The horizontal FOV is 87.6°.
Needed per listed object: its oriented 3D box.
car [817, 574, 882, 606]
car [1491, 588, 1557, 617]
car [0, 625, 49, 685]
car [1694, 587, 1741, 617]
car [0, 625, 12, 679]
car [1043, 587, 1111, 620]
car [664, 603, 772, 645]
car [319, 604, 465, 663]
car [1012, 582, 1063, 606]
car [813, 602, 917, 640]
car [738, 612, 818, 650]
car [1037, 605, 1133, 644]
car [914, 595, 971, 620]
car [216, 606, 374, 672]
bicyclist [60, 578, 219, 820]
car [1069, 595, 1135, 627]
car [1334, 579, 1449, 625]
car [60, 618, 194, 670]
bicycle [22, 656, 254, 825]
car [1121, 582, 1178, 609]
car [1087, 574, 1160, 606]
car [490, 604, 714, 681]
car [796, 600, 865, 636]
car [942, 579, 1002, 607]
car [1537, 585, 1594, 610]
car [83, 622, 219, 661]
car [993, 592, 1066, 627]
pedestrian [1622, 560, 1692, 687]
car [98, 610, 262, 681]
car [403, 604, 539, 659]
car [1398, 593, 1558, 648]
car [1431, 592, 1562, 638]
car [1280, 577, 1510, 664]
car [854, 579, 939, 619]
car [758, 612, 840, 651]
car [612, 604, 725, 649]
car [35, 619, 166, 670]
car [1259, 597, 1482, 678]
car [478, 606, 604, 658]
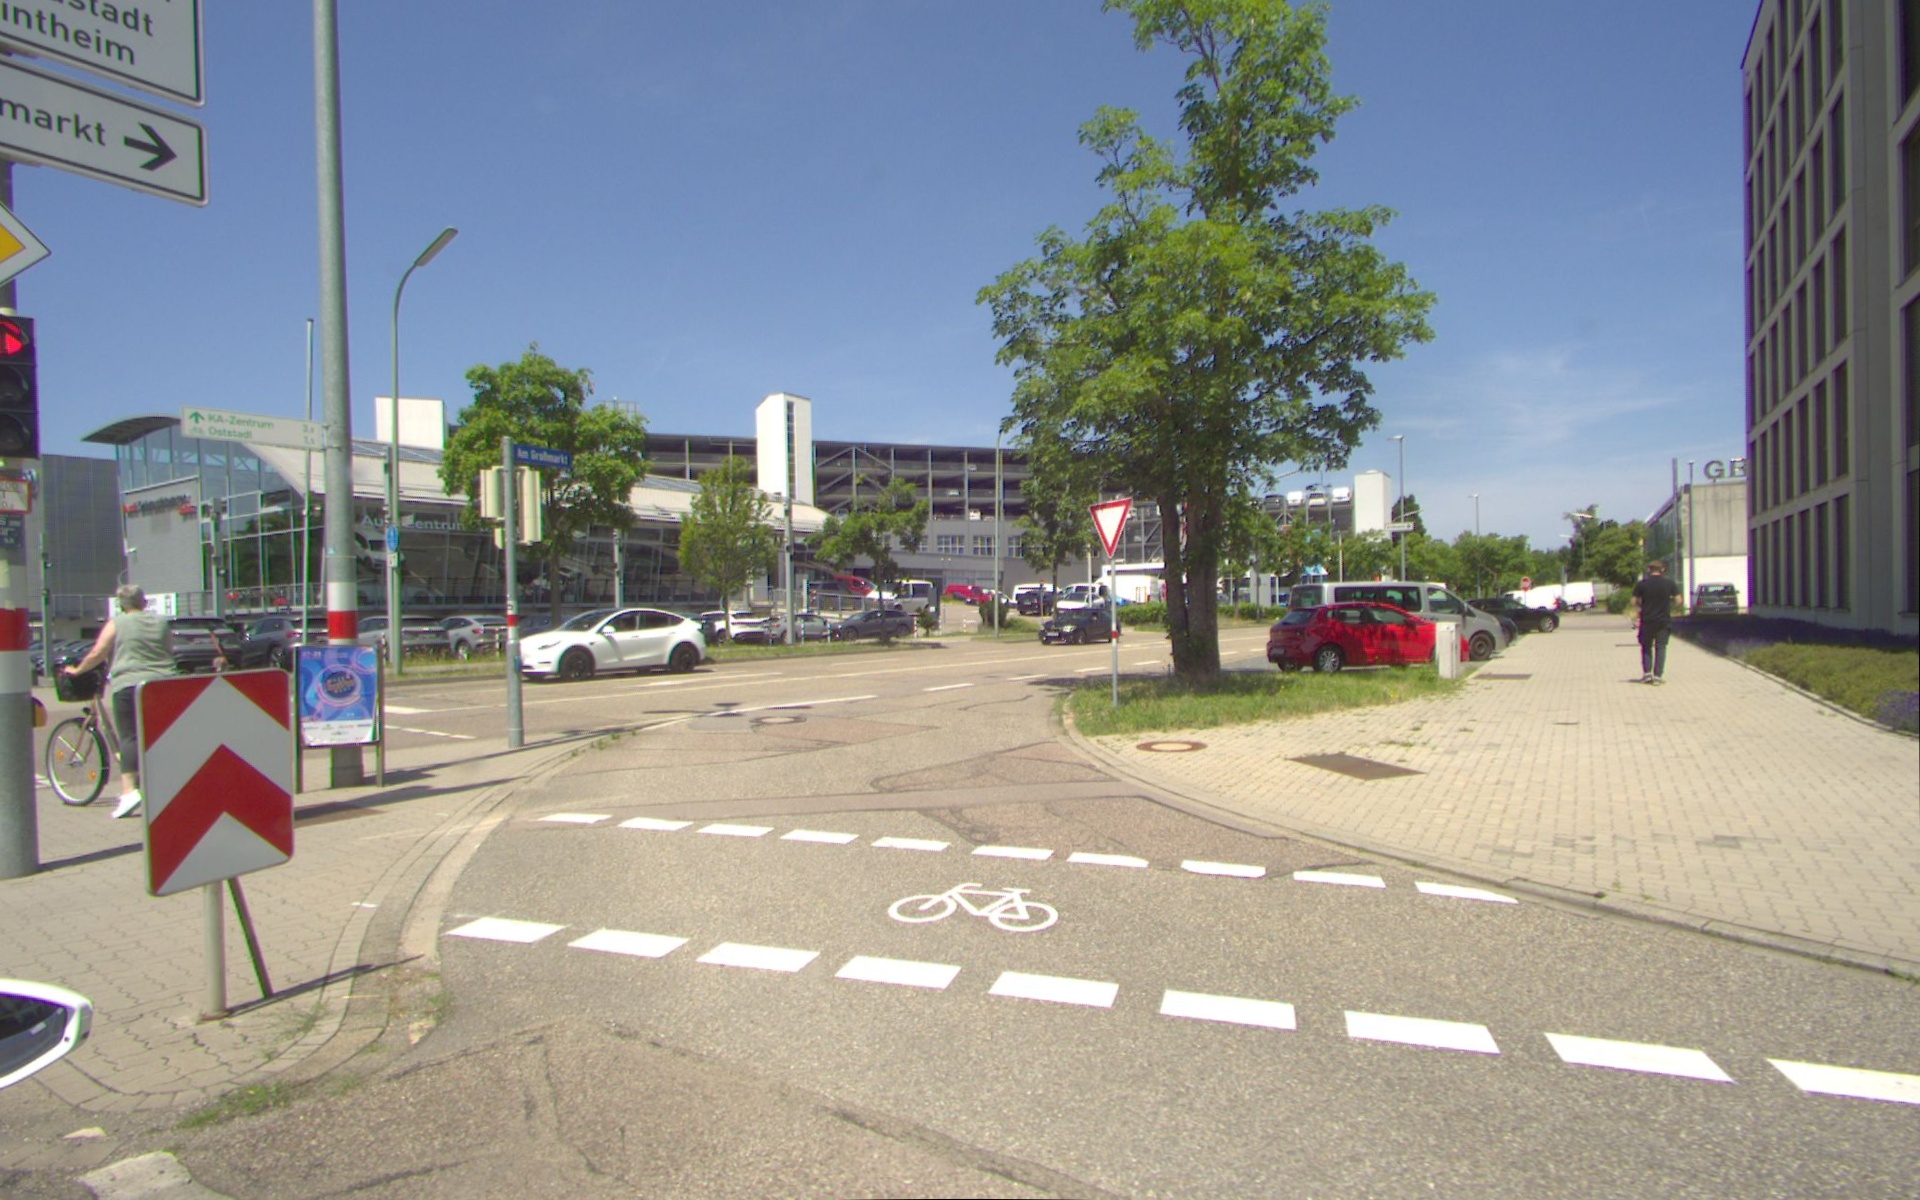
[{"bbox_3d":[-7.456,-0.658,67.758,3.937,2.040,1.992,-1,0,27],"label":"car"},{"bbox_3d":[41.042,0.216,72.929,3.949,2.040,1.986,-1,0,37],"label":"car"},{"bbox_3d":[-25.691,1.398,24.475,1.972,1.476,4.729,0,0,34],"label":"car"},{"bbox_3d":[41.493,0.089,54.920,1.765,1.542,3.556,-2,0,33],"label":"car"},{"bbox_3d":[-28.002,1.446,25.897,1.973,1.476,4.729,-2,-1,34],"label":"car"},{"bbox_3d":[7.624,0.248,65.336,3.943,2.040,1.840,-1,0,32],"label":"car"},{"bbox_3d":[-10.091,0.978,41.667,4.410,1.661,1.823,-1,1,32],"label":"car"},{"bbox_3d":[-17.199,0.973,30.292,4.377,1.661,1.989,-1,1,32],"label":"car"},{"bbox_3d":[7.143,-0.539,92.555,4.257,2.040,1.989,-1,0,32],"label":"car"},{"bbox_3d":[-4.514,0.968,48.056,4.703,1.661,1.821,-1,1,-35],"label":"car"},{"bbox_3d":[-9.398,1.577,51.830,3.712,1.795,1.761,-1,0,-28],"label":"car"},{"bbox_3d":[4.991,0.943,39.527,1.653,1.430,4.200,1,1,42],"label":"car"},{"bbox_3d":[-1.300,0.575,74.727,3.943,1.810,1.730,-1,0,32],"label":"car"},{"bbox_3d":[-18.555,1.033,27.898,4.492,1.661,1.989,-1,0,32],"label":"car"},{"bbox_3d":[-6.420,0.737,7.852,0.742,1.772,0.733,0,-1,28],"label":"bicyclist"},{"bbox_3d":[9.515,0.726,67.157,3.943,2.040,1.989,-1,0,32],"label":"car"},{"bbox_3d":[24.875,0.128,57.899,5.688,2.567,2.102,0,0,5],"label":"car"},{"bbox_3d":[-35.542,1.820,42.827,1.972,2.040,3.978,-1,0,33],"label":"car"},{"bbox_3d":[-6.537,1.050,7.948,1.891,1.142,0.786,0,-1,29],"label":"bicycle"},{"bbox_3d":[14.846,-0.360,78.650,3.945,2.040,1.988,-1,0,34],"label":"car"},{"bbox_3d":[11.299,-0.656,69.208,4.578,2.040,1.989,-1,0,32],"label":"car"},{"bbox_3d":[-8.282,0.922,23.574,1.975,1.609,4.662,-1,-1,38],"label":"car"},{"bbox_3d":[-7.693,1.049,59.700,1.839,2.040,3.733,-1,0,41],"label":"car"},{"bbox_3d":[0.929,-0.527,78.141,4.286,2.040,1.991,-1,0,30],"label":"car"},{"bbox_3d":[54.704,-0.196,90.498,4.304,2.149,2.080,-1,0,36],"label":"car"},{"bbox_3d":[-33.567,1.695,41.631,1.694,1.480,4.083,0,0,32],"label":"car"},{"bbox_3d":[4.199,0.605,60.831,3.943,2.040,1.989,-1,0,32],"label":"car"},{"bbox_3d":[10.665,0.354,15.318,0.764,1.869,0.861,-2,0,40],"label":"pedestrian"},{"bbox_3d":[-20.007,1.104,25.660,4.207,1.661,1.989,-1,0,32],"label":"car"},{"bbox_3d":[-15.841,0.974,32.403,4.460,1.661,1.881,-1,1,32],"label":"car"},{"bbox_3d":[15.304,0.589,29.657,3.924,1.483,1.718,-1,0,-8],"label":"car"},{"bbox_3d":[20.884,0.606,39.103,4.075,1.558,1.815,-3,-1,2],"label":"car"},{"bbox_3d":[10.230,0.454,23.659,4.814,1.839,1.704,-2,0,-10],"label":"car"},{"bbox_3d":[-3.365,-0.042,54.323,1.972,2.040,5.117,-1,0,32],"label":"car"},{"bbox_3d":[-7.990,1.541,49.752,3.660,1.801,1.739,-1,0,-31],"label":"car"},{"bbox_3d":[-11.484,1.008,39.389,4.410,1.661,1.823,-1,1,32],"label":"car"},{"bbox_3d":[-37.921,1.909,44.257,1.972,2.040,3.978,-1,0,33],"label":"car"},{"bbox_3d":[8.338,0.731,20.459,3.924,1.454,1.609,-2,0,-8],"label":"car"},{"bbox_3d":[-14.514,1.064,34.633,4.410,1.661,1.823,-1,1,32],"label":"car"}]
